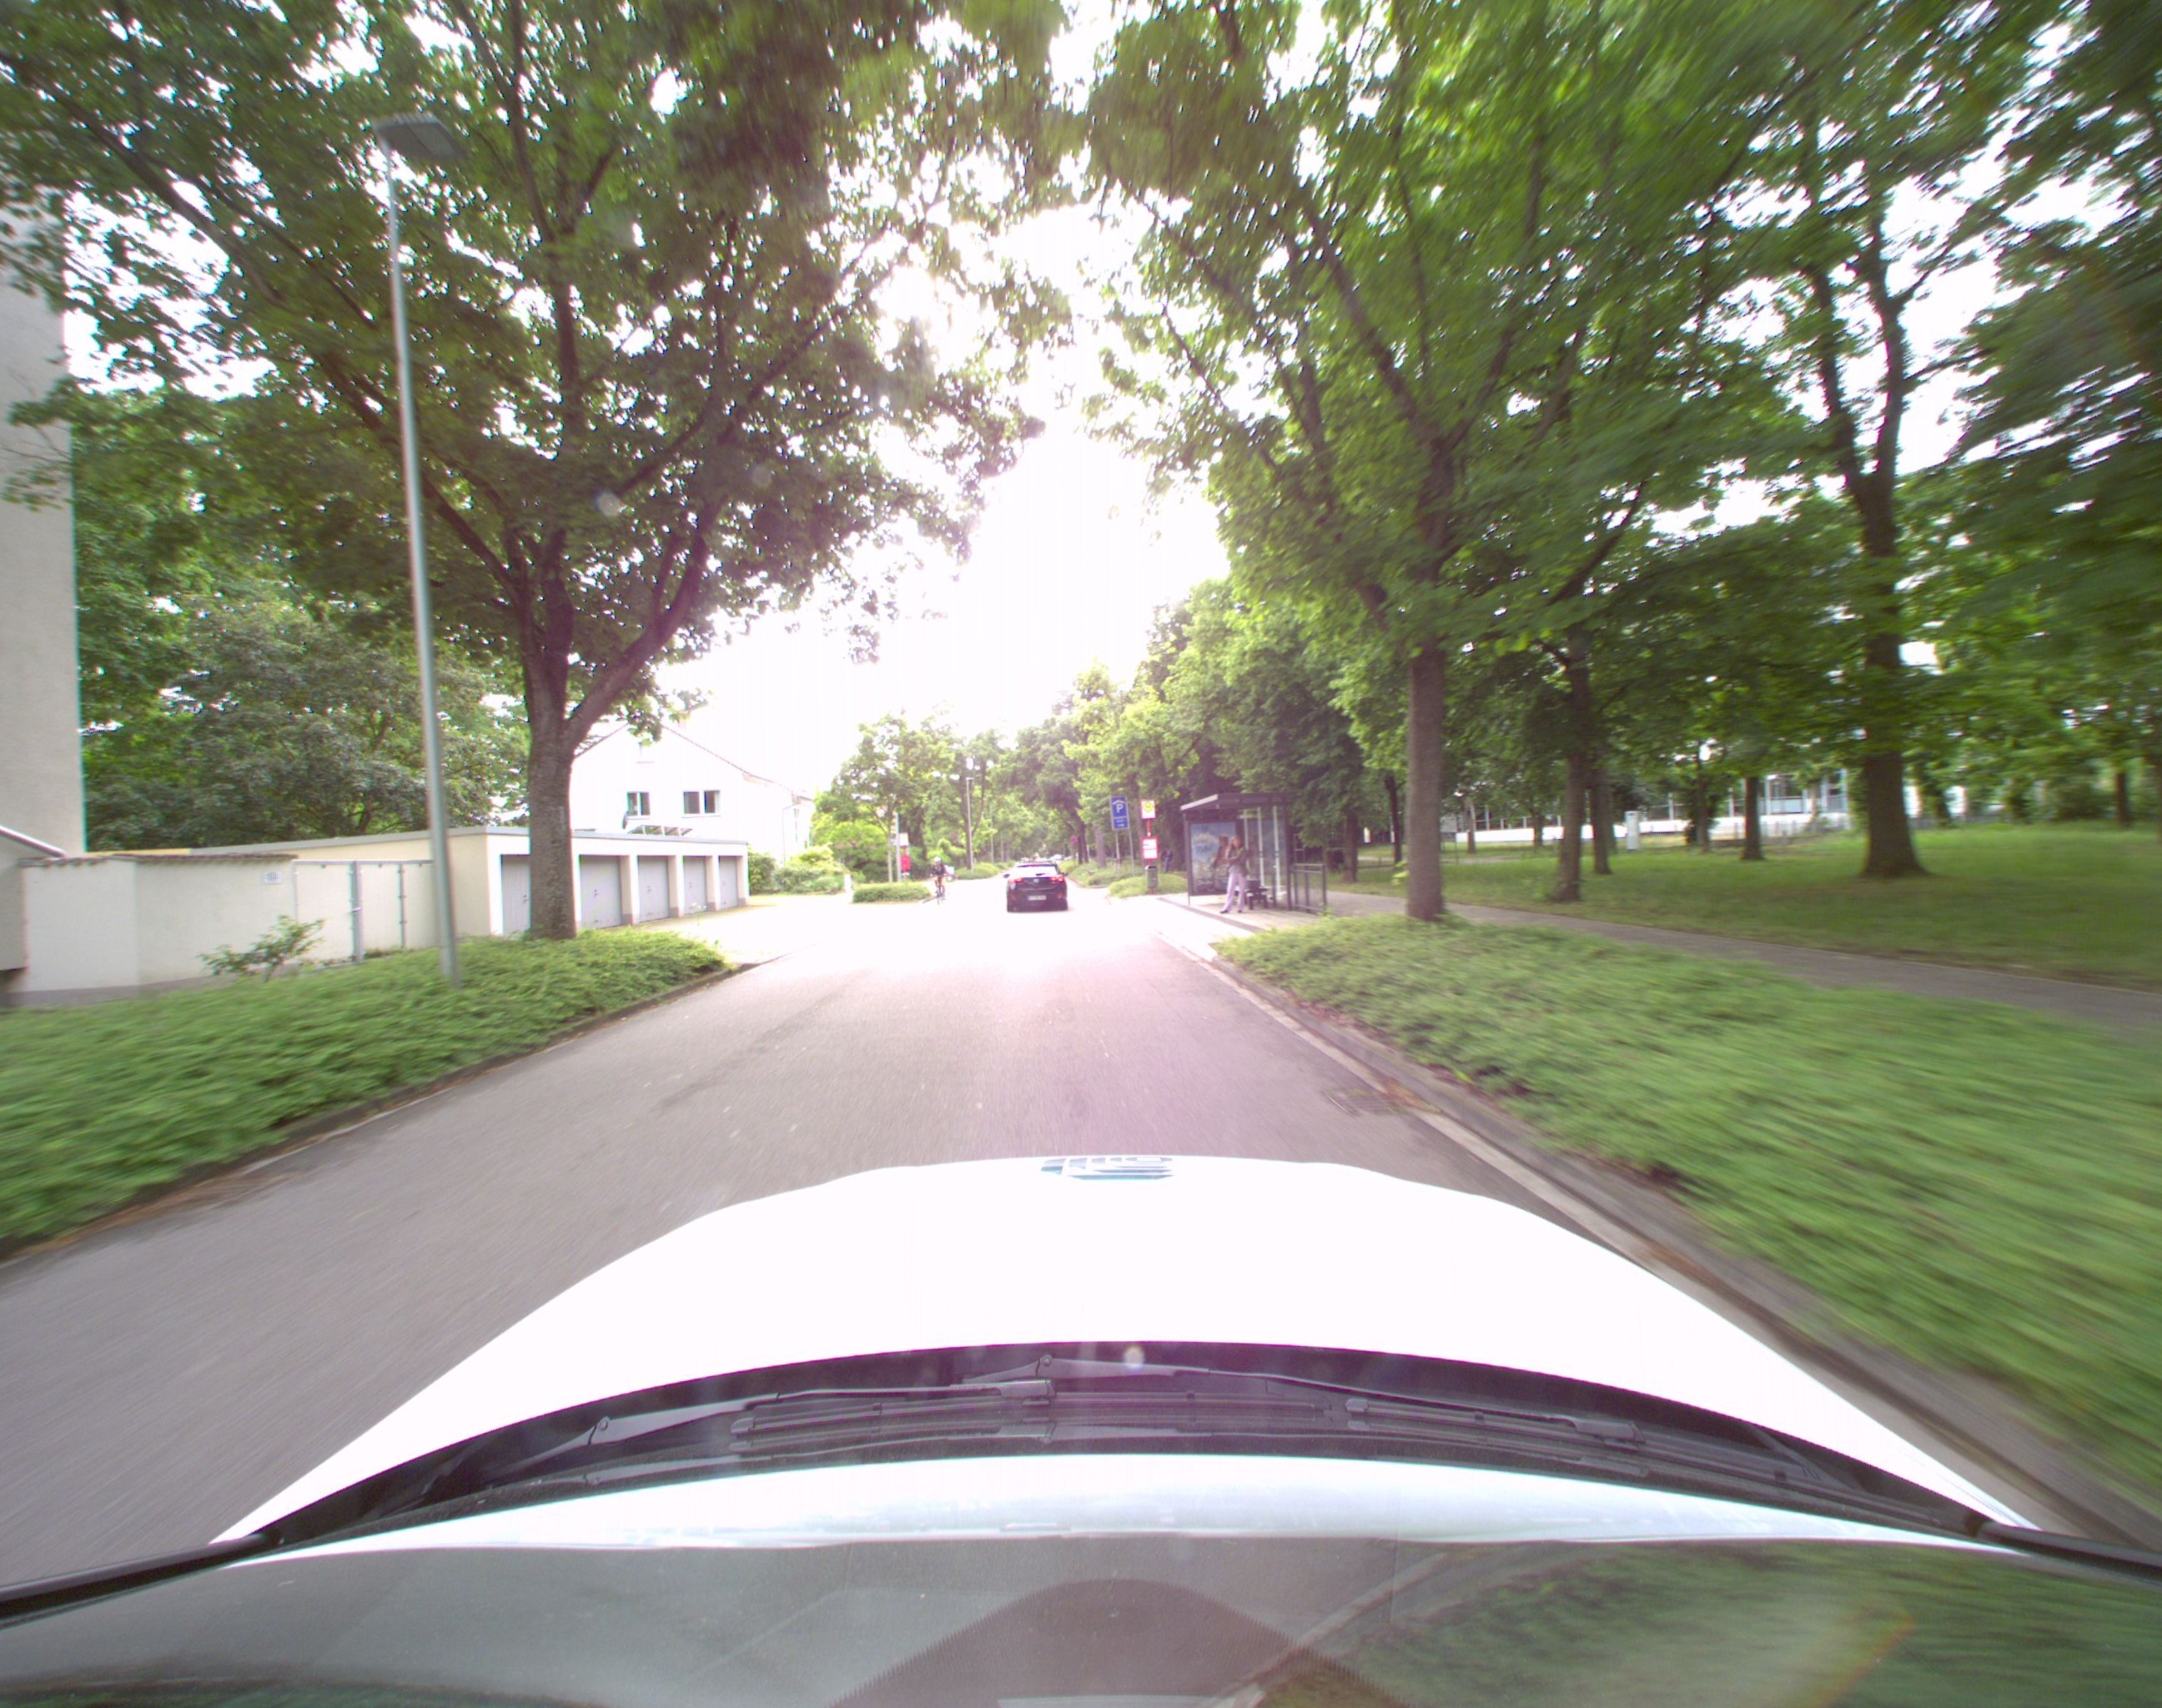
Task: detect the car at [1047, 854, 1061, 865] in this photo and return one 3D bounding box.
[{"bbox_3d":[-4.048,0.872,122.368,1.896,1.486,3.993,-3,0,-5],"label":"car"}]

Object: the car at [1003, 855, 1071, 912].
[{"bbox_3d":[-1.347,0.826,24.652,1.842,1.462,3.822,-2,0,-4],"label":"car"}]

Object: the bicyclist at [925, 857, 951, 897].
[{"bbox_3d":[-5.479,0.858,31.220,0.782,1.469,0.936,-4,0,-3],"label":"bicyclist"}]

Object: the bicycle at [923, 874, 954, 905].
[{"bbox_3d":[-5.400,1.339,30.989,0.792,1.025,2.562,-4,0,-2],"label":"bicycle"}]

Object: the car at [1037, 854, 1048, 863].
[{"bbox_3d":[-7.402,0.878,156.079,1.989,1.486,3.995,-4,0,-3],"label":"car"}]

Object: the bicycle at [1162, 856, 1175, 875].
[{"bbox_3d":[4.975,0.656,46.496,0.605,0.975,1.946,-4,0,4],"label":"bicycle"}]

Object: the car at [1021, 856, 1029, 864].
[{"bbox_3d":[-11.091,1.263,161.102,1.560,1.437,4.207,-4,0,-6],"label":"car"}]

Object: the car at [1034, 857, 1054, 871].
[{"bbox_3d":[-4.046,1.091,89.152,1.862,1.462,4.108,-3,0,-6],"label":"car"}]

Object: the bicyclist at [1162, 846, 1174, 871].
[{"bbox_3d":[4.966,0.244,46.490,0.594,1.409,0.759,-4,0,4],"label":"bicyclist"}]

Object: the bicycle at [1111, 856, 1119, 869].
[{"bbox_3d":[2.701,0.684,64.513,0.489,0.975,1.946,-4,0,4],"label":"bicycle"}]

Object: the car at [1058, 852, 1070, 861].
[{"bbox_3d":[-3.915,0.540,182.748,1.994,2.013,3.987,-4,0,-10],"label":"car"}]

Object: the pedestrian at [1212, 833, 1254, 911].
[{"bbox_3d":[3.222,0.375,17.287,0.652,1.583,0.697,-4,0,-3],"label":"pedestrian"}]

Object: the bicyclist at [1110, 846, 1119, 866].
[{"bbox_3d":[2.665,0.185,64.542,0.532,1.549,0.759,-4,0,4],"label":"bicyclist"}]
